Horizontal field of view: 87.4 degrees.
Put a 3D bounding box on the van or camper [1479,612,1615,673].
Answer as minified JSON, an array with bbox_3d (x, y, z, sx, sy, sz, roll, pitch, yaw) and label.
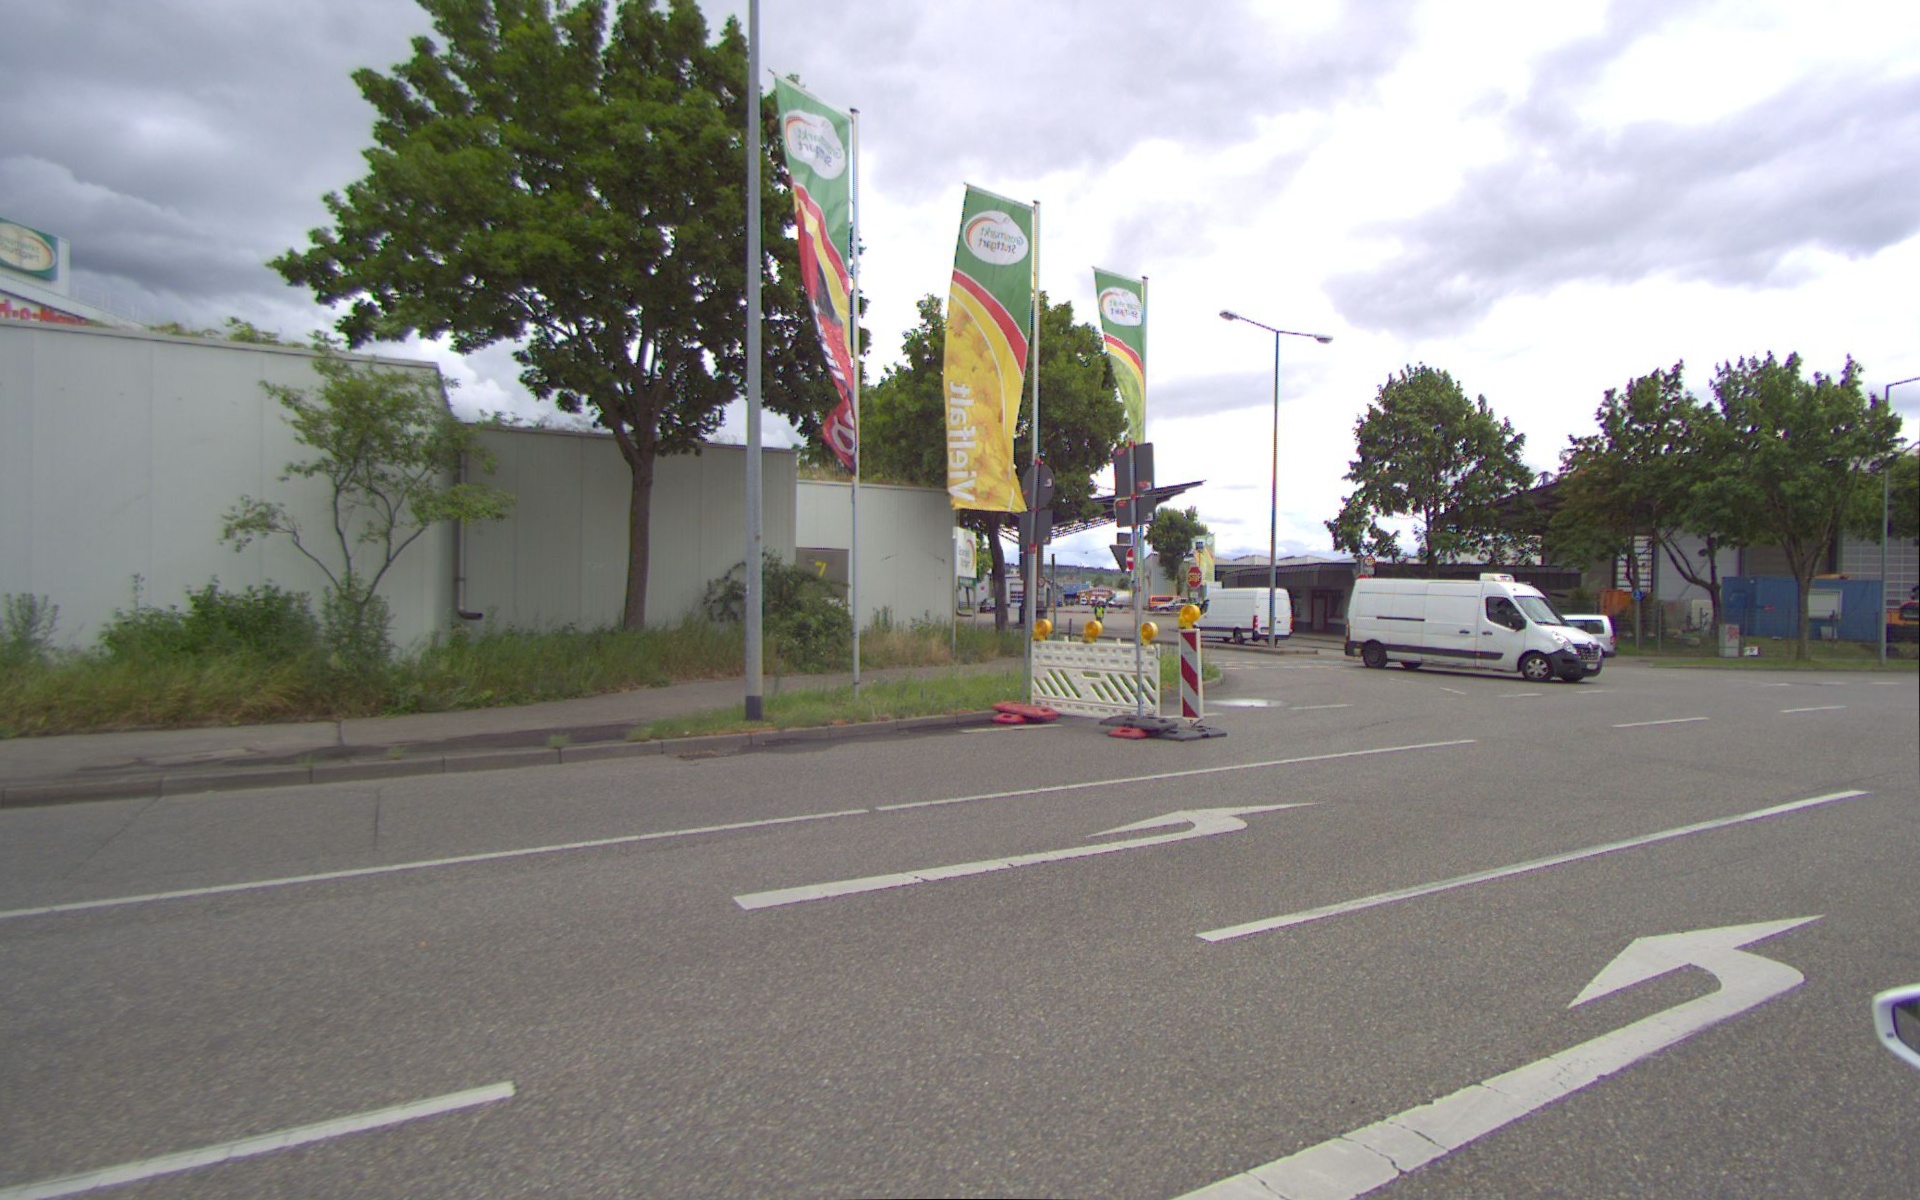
[{"bbox_3d":[21.947,1.542,37.759,4.196,1.990,1.956,2,1,26],"label":"van or camper"}]

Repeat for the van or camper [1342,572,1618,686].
[{"bbox_3d":[13.225,0.594,26.086,2.247,2.591,6.055,1,1,-32],"label":"van or camper"}]

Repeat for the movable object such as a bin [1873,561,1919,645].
[{"bbox_3d":[50.773,0.227,50.852,6.421,4.145,2.735,1,0,3],"label":"movable object such as a bin"}]

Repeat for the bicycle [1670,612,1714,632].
[{"bbox_3d":[36.576,1.088,50.205,1.726,0.987,0.663,1,0,2],"label":"bicycle"}]

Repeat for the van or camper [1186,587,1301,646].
[{"bbox_3d":[13.440,0.709,48.180,2.292,2.591,6.557,1,1,-14],"label":"van or camper"}]

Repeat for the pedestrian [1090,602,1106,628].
[{"bbox_3d":[8.443,0.938,61.411,0.755,1.579,0.816,1,0,-7],"label":"pedestrian"}]
